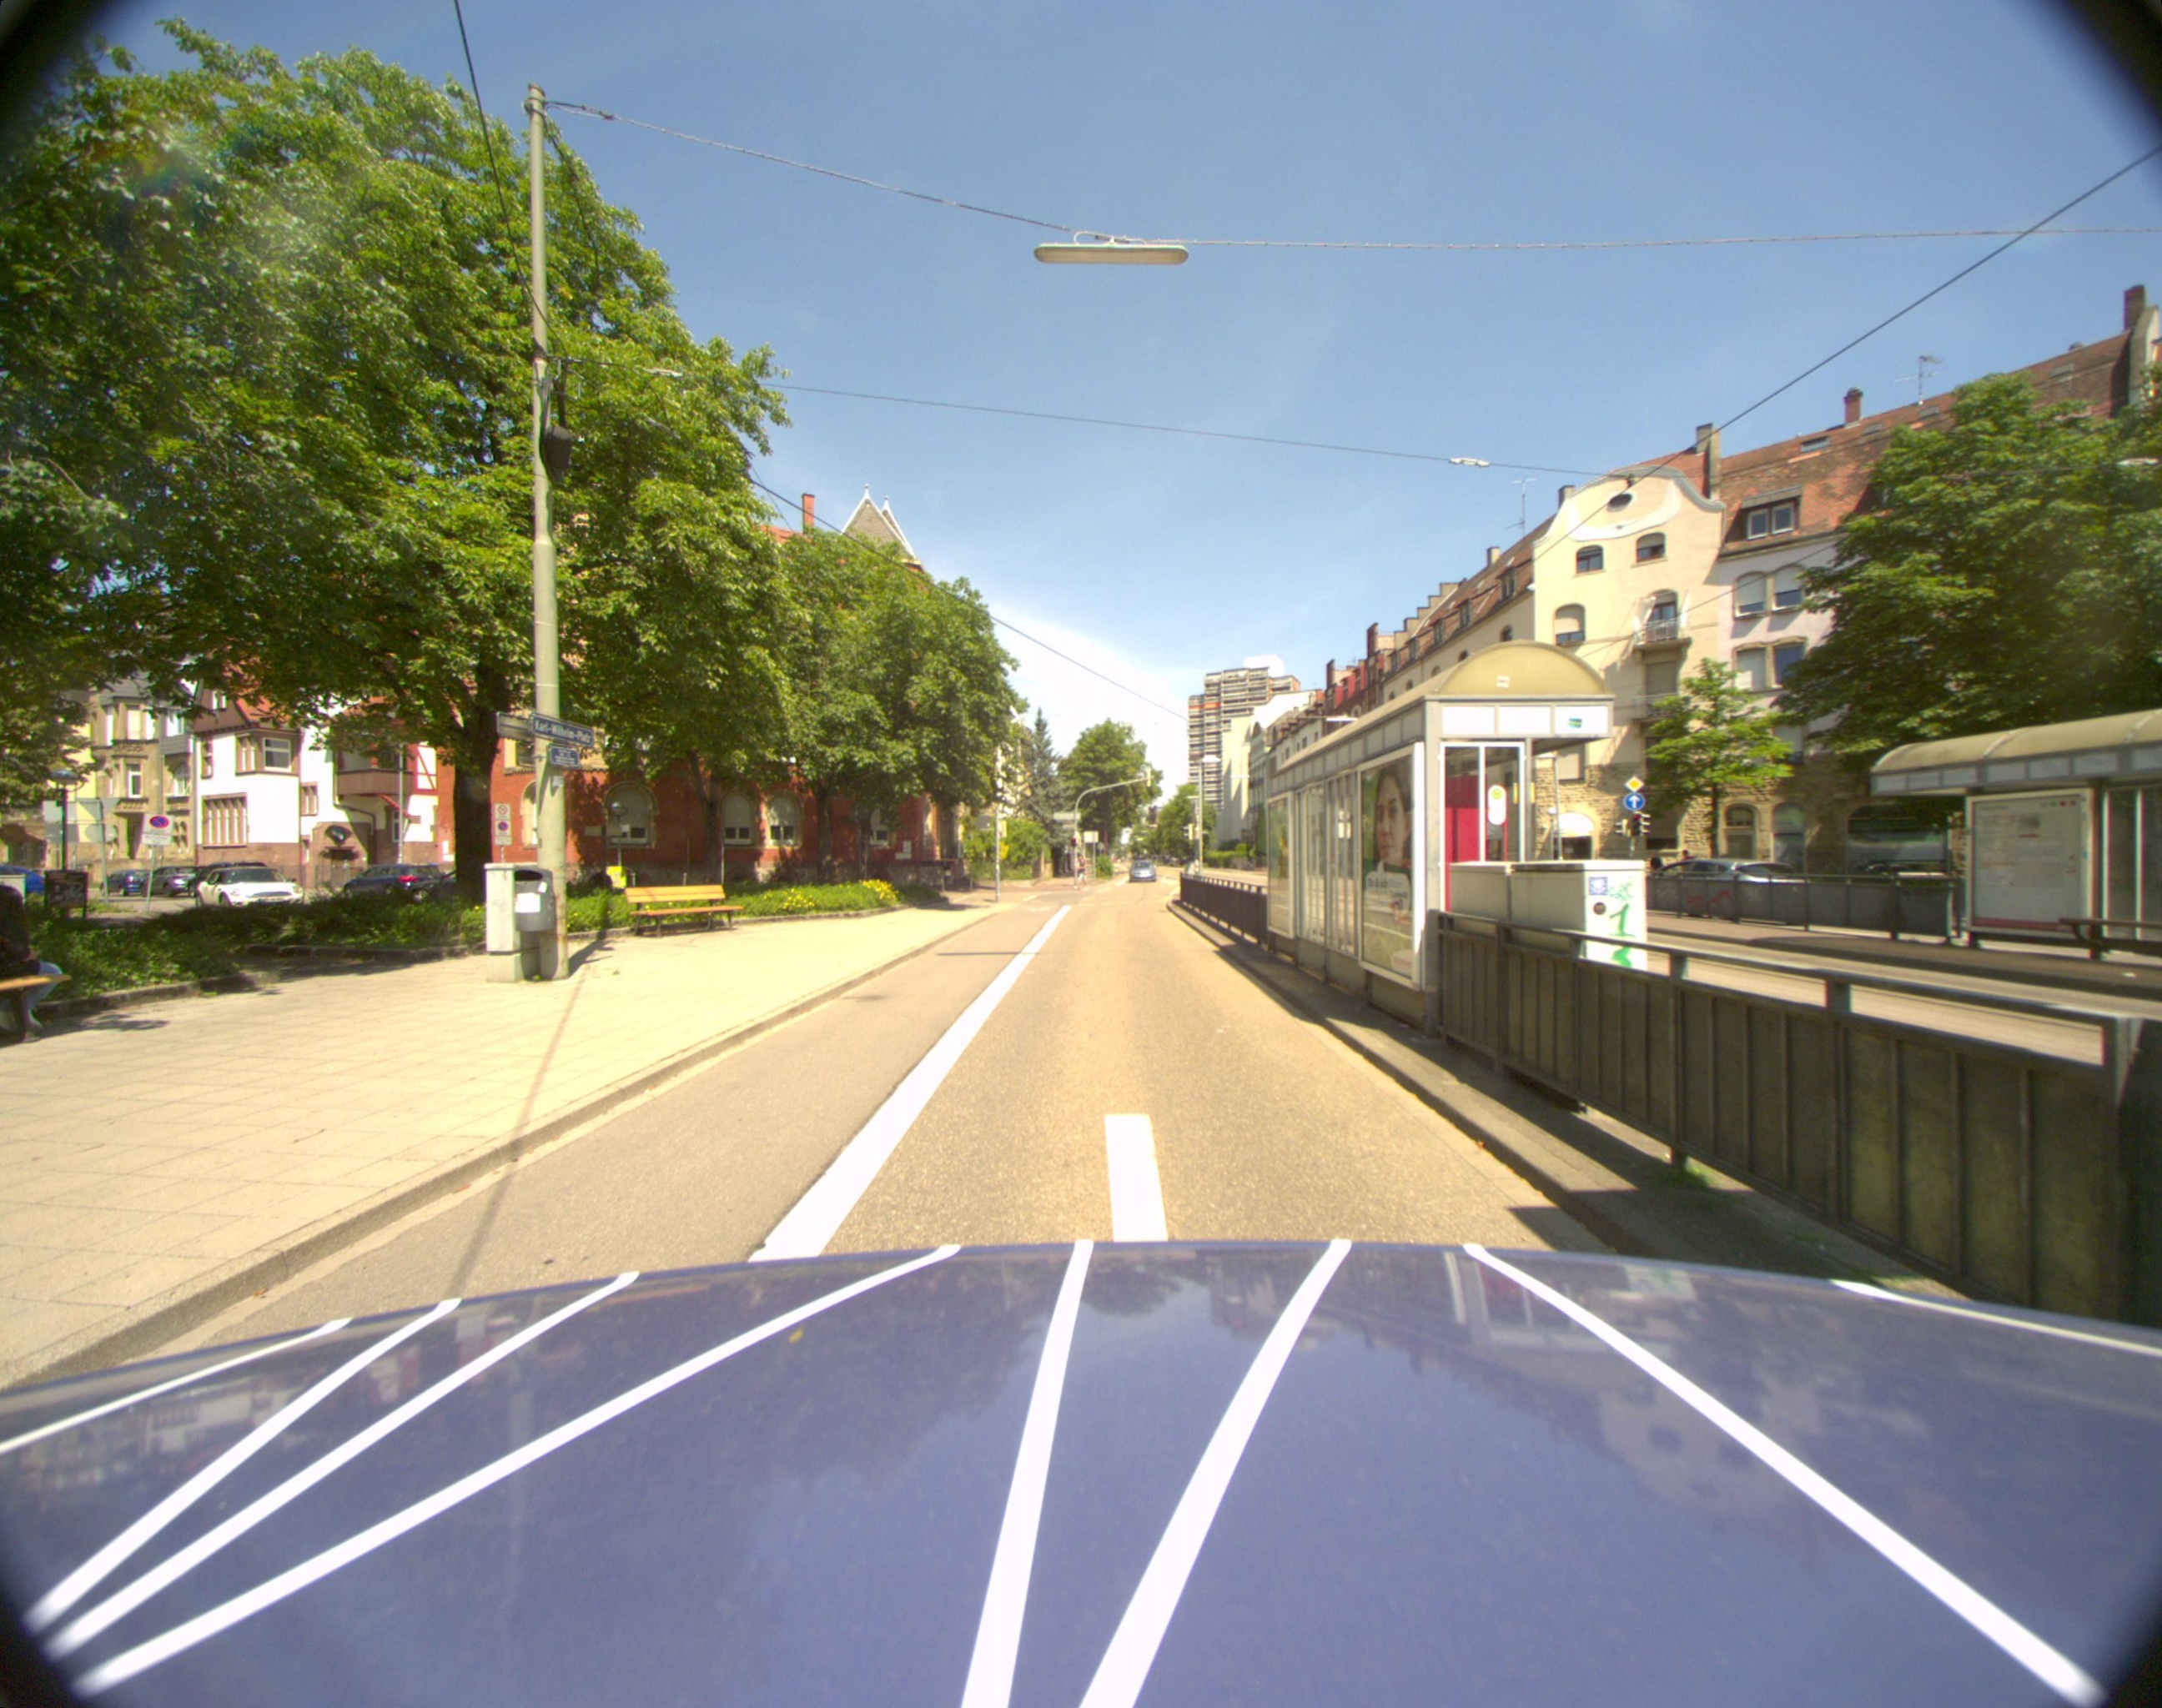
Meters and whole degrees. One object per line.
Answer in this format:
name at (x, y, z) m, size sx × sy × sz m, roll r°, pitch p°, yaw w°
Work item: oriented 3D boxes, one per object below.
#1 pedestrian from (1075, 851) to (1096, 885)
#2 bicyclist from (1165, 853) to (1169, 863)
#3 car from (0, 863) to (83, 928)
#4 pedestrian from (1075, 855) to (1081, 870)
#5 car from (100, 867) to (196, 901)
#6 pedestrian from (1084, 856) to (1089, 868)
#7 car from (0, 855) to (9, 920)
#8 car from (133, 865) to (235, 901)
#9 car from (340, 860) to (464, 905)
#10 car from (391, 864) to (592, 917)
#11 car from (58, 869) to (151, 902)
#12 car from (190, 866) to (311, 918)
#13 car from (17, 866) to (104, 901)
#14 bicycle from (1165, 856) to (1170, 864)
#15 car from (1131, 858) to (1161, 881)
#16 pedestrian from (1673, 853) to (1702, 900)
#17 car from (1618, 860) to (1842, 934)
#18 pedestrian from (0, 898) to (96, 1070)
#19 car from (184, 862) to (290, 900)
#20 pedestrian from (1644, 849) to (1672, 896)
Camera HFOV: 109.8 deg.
pedestrian at (0.241, 0.735, 40.202) m, size 0.840 × 1.813 × 0.672 m, roll -1°, pitch 1°, yaw -29°
bicyclist at (17.114, 0.779, 151.282) m, size 0.644 × 1.864 × 0.716 m, roll -2°, pitch 1°, yaw -2°
car at (-32.845, 1.294, 22.019) m, size 1.934 × 1.869 × 4.315 m, roll -2°, pitch 1°, yaw 23°
pedestrian at (-0.320, 0.922, 81.896) m, size 0.702 × 1.645 × 0.665 m, roll 0°, pitch 0°, yaw 1°
car at (-48.424, 1.563, 39.426) m, size 4.299 × 1.608 × 1.941 m, roll -2°, pitch 1°, yaw 23°
pedestrian at (0.870, 1.189, 114.728) m, size 0.686 × 1.732 × 0.660 m, roll -2°, pitch 1°, yaw 3°
car at (-37.661, 1.194, 23.787) m, size 1.934 × 2.178 × 4.315 m, roll -2°, pitch 1°, yaw 23°
car at (-44.150, 1.422, 37.404) m, size 4.299 × 1.608 × 1.941 m, roll -2°, pitch 1°, yaw 23°
car at (-27.044, 1.126, 30.279) m, size 4.299 × 1.608 × 1.941 m, roll -2°, pitch 1°, yaw 23°
car at (-19.657, 1.180, 25.520) m, size 5.033 × 1.474 × 1.937 m, roll -2°, pitch 1°, yaw -4°
car at (-53.025, 1.719, 41.261) m, size 4.299 × 1.608 × 1.941 m, roll -2°, pitch 1°, yaw 23°
car at (-26.045, 1.171, 23.831) m, size 3.642 × 1.497 × 1.709 m, roll -1°, pitch -1°, yaw 28°
car at (-59.179, 1.701, 44.071) m, size 4.299 × 1.862 × 1.941 m, roll -2°, pitch 1°, yaw 23°
bicycle at (17.142, 1.260, 151.299) m, size 0.644 × 1.503 × 1.970 m, roll -2°, pitch 1°, yaw -2°
car at (4.374, 1.004, 50.985) m, size 1.895 × 1.372 × 4.001 m, roll -2°, pitch 1°, yaw 5°
pedestrian at (20.287, 0.745, 25.419) m, size 0.594 × 1.542 × 0.474 m, roll 0°, pitch 0°, yaw -1°
car at (14.837, 0.903, 17.719) m, size 1.812 × 1.386 × 3.999 m, roll -2°, pitch 1°, yaw 1°
pedestrian at (-7.744, 0.906, 5.410) m, size 0.566 × 1.136 × 0.725 m, roll 0°, pitch 1°, yaw -16°
car at (-39.591, 1.267, 35.658) m, size 4.299 × 1.608 × 1.941 m, roll -2°, pitch 1°, yaw 23°
pedestrian at (20.133, 0.642, 26.522) m, size 0.594 × 1.637 × 0.474 m, roll 0°, pitch 0°, yaw 1°
